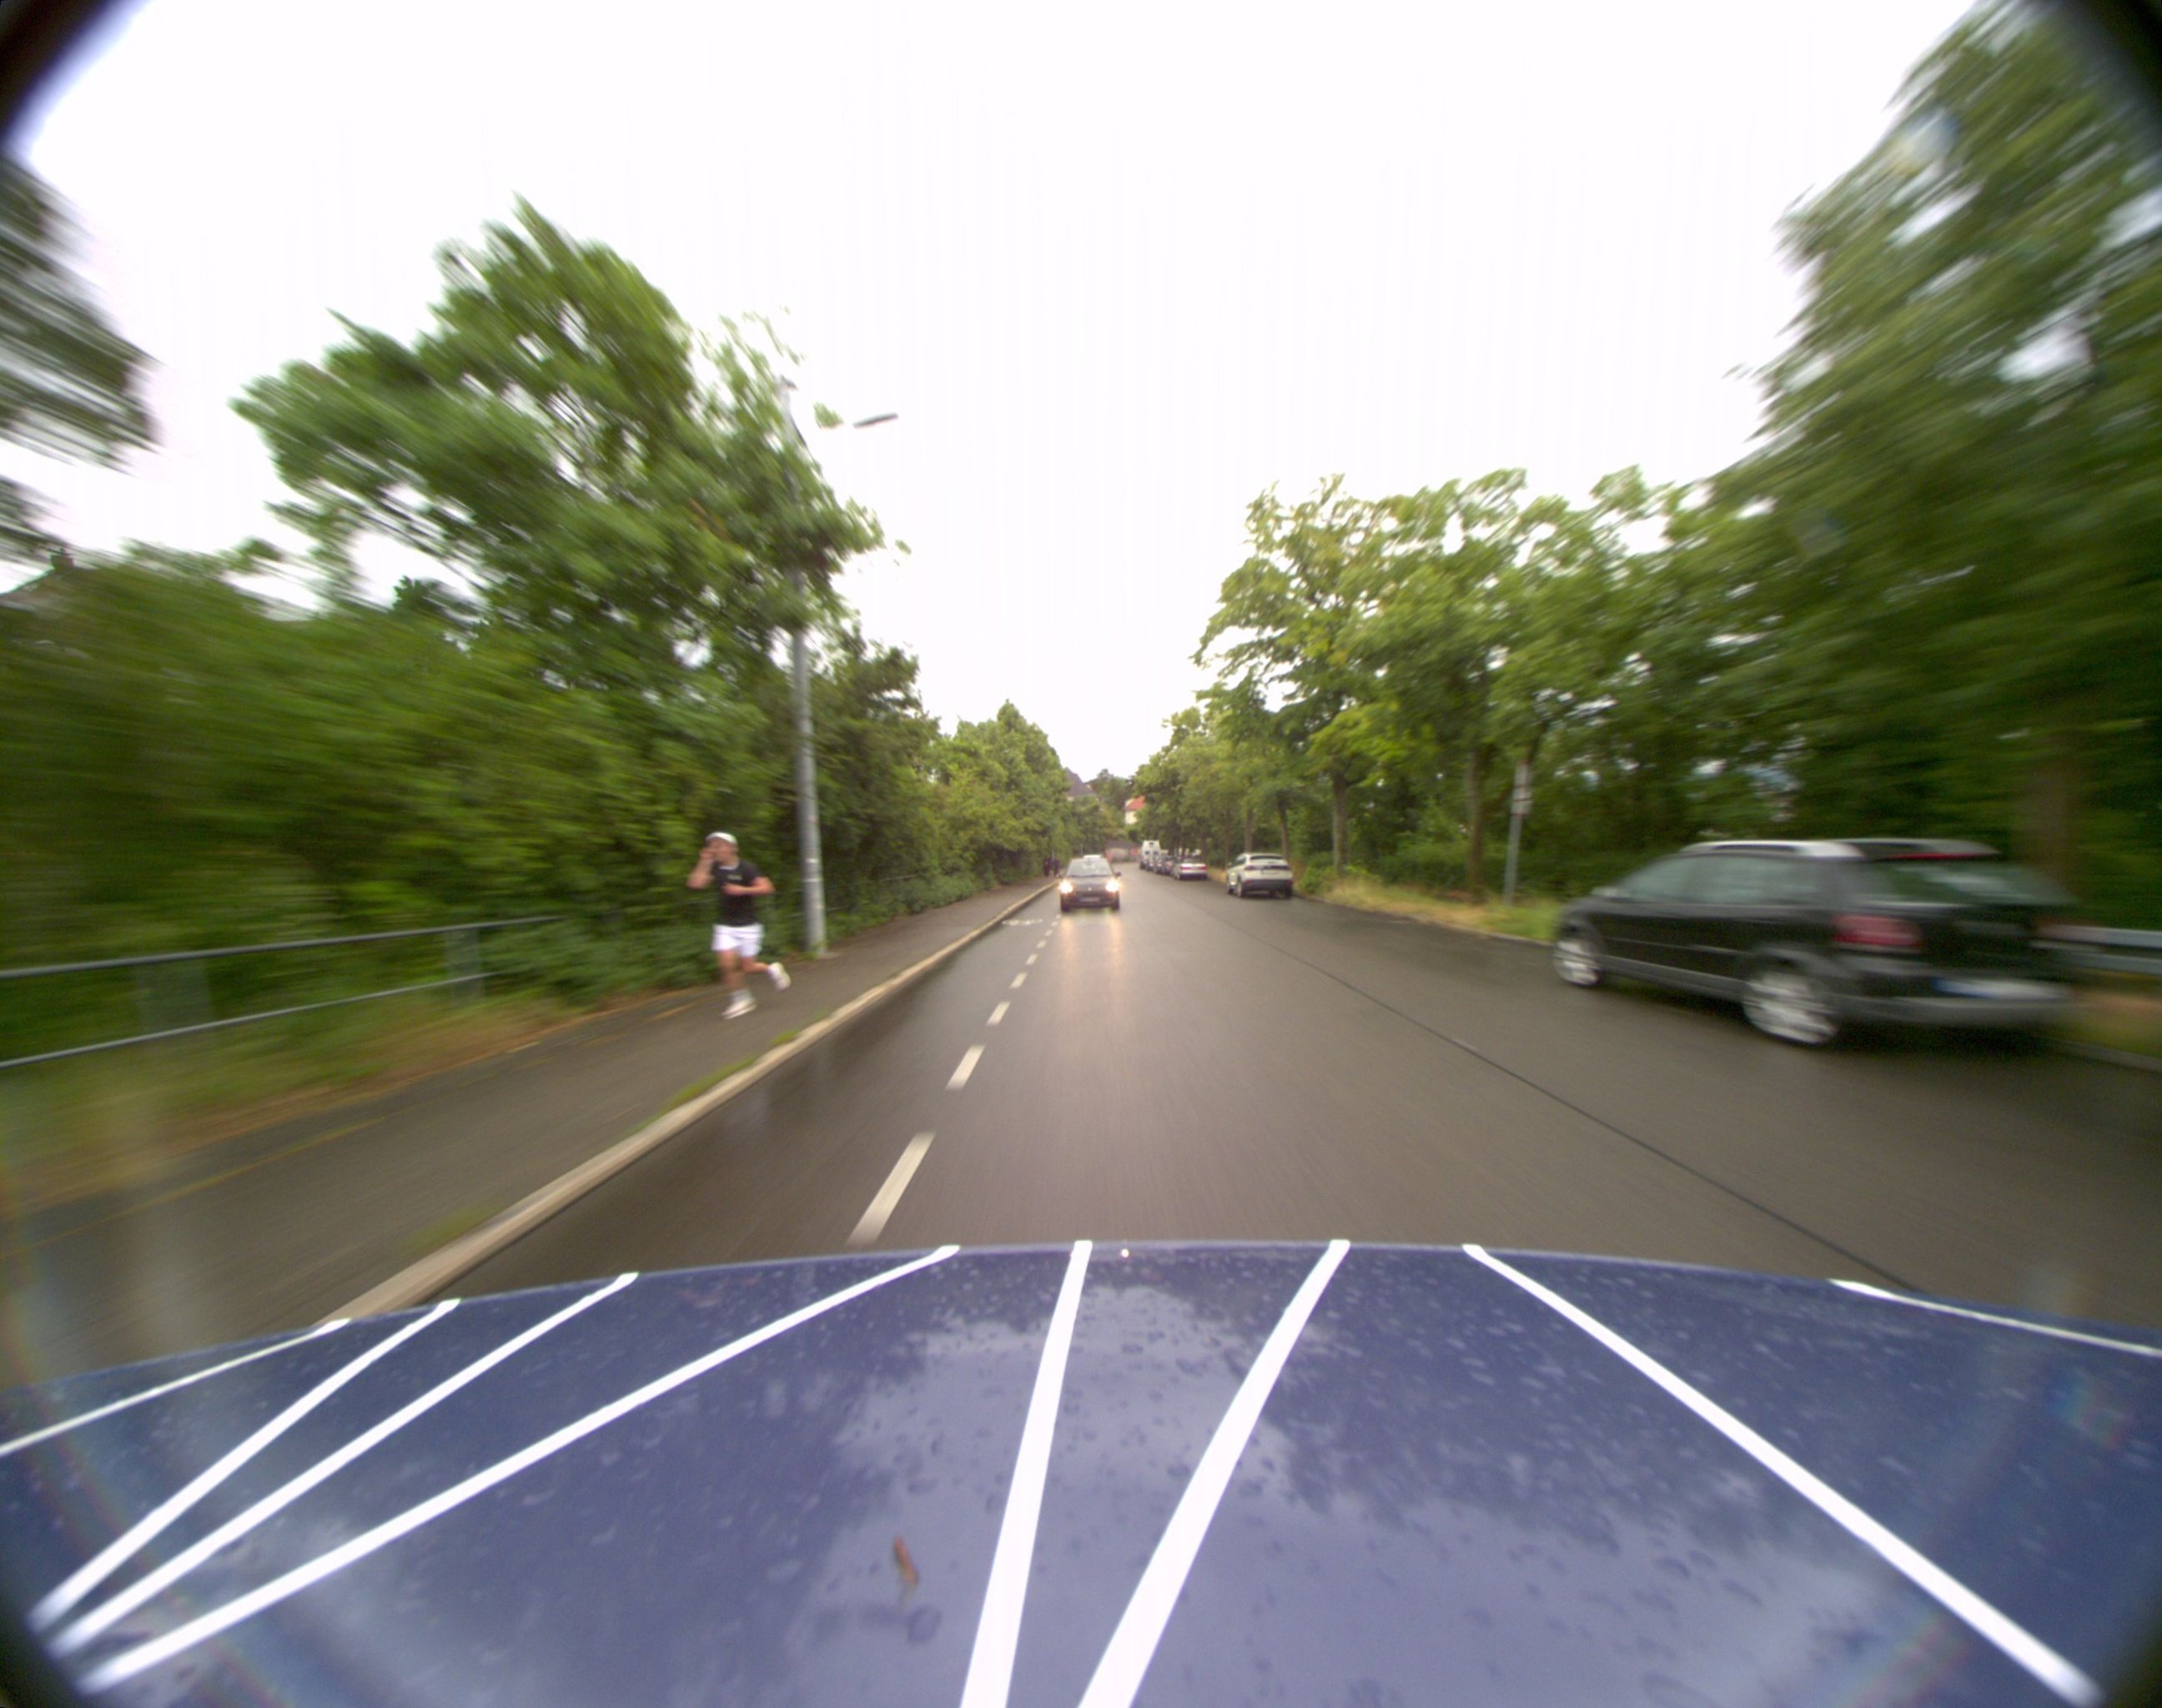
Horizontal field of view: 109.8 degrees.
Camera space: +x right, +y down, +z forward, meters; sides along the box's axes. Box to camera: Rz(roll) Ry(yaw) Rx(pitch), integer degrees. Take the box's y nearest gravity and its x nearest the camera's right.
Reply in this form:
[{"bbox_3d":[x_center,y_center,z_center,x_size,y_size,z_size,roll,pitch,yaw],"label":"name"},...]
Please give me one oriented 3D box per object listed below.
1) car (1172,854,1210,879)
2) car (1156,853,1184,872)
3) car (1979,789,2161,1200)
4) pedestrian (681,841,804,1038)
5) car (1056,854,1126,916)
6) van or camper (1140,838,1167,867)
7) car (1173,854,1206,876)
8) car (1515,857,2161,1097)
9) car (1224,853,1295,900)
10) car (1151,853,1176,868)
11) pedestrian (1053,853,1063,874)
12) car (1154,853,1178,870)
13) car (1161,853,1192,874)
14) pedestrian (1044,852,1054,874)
[{"bbox_3d":[6.590,0.708,45.849,1.759,1.394,4.419,-1,1,1],"label":"car"},{"bbox_3d":[7.110,0.623,61.093,1.998,1.397,4.714,0,1,4],"label":"car"},{"bbox_3d":[5.718,0.632,1.302,2.088,1.809,5.380,-1,1,2],"label":"car"},{"bbox_3d":[-3.322,0.789,7.546,0.718,1.824,1.021,1,1,3],"label":"pedestrian"},{"bbox_3d":[0.259,0.830,22.490,1.804,1.419,4.381,-2,2,0],"label":"car"},{"bbox_3d":[7.834,-0.227,82.806,2.511,3.009,6.561,0,1,2],"label":"van or camper"},{"bbox_3d":[7.183,0.695,50.649,1.599,1.354,4.000,-1,1,-1],"label":"car"},{"bbox_3d":[6.056,0.790,6.932,1.802,1.429,4.255,-1,1,0],"label":"car"},{"bbox_3d":[6.144,0.721,26.588,1.692,1.429,4.256,0,1,3],"label":"car"},{"bbox_3d":[7.742,0.637,71.909,1.998,1.301,5.356,1,0,3],"label":"car"},{"bbox_3d":[-1.692,0.683,55.398,0.553,1.557,0.487,3,2,9],"label":"pedestrian"},{"bbox_3d":[7.353,0.660,65.841,1.998,1.397,4.716,0,0,5],"label":"car"},{"bbox_3d":[7.012,0.656,56.127,1.998,1.397,4.714,0,1,4],"label":"car"},{"bbox_3d":[-2.330,0.650,55.441,0.596,1.558,0.669,2,3,3],"label":"pedestrian"}]
